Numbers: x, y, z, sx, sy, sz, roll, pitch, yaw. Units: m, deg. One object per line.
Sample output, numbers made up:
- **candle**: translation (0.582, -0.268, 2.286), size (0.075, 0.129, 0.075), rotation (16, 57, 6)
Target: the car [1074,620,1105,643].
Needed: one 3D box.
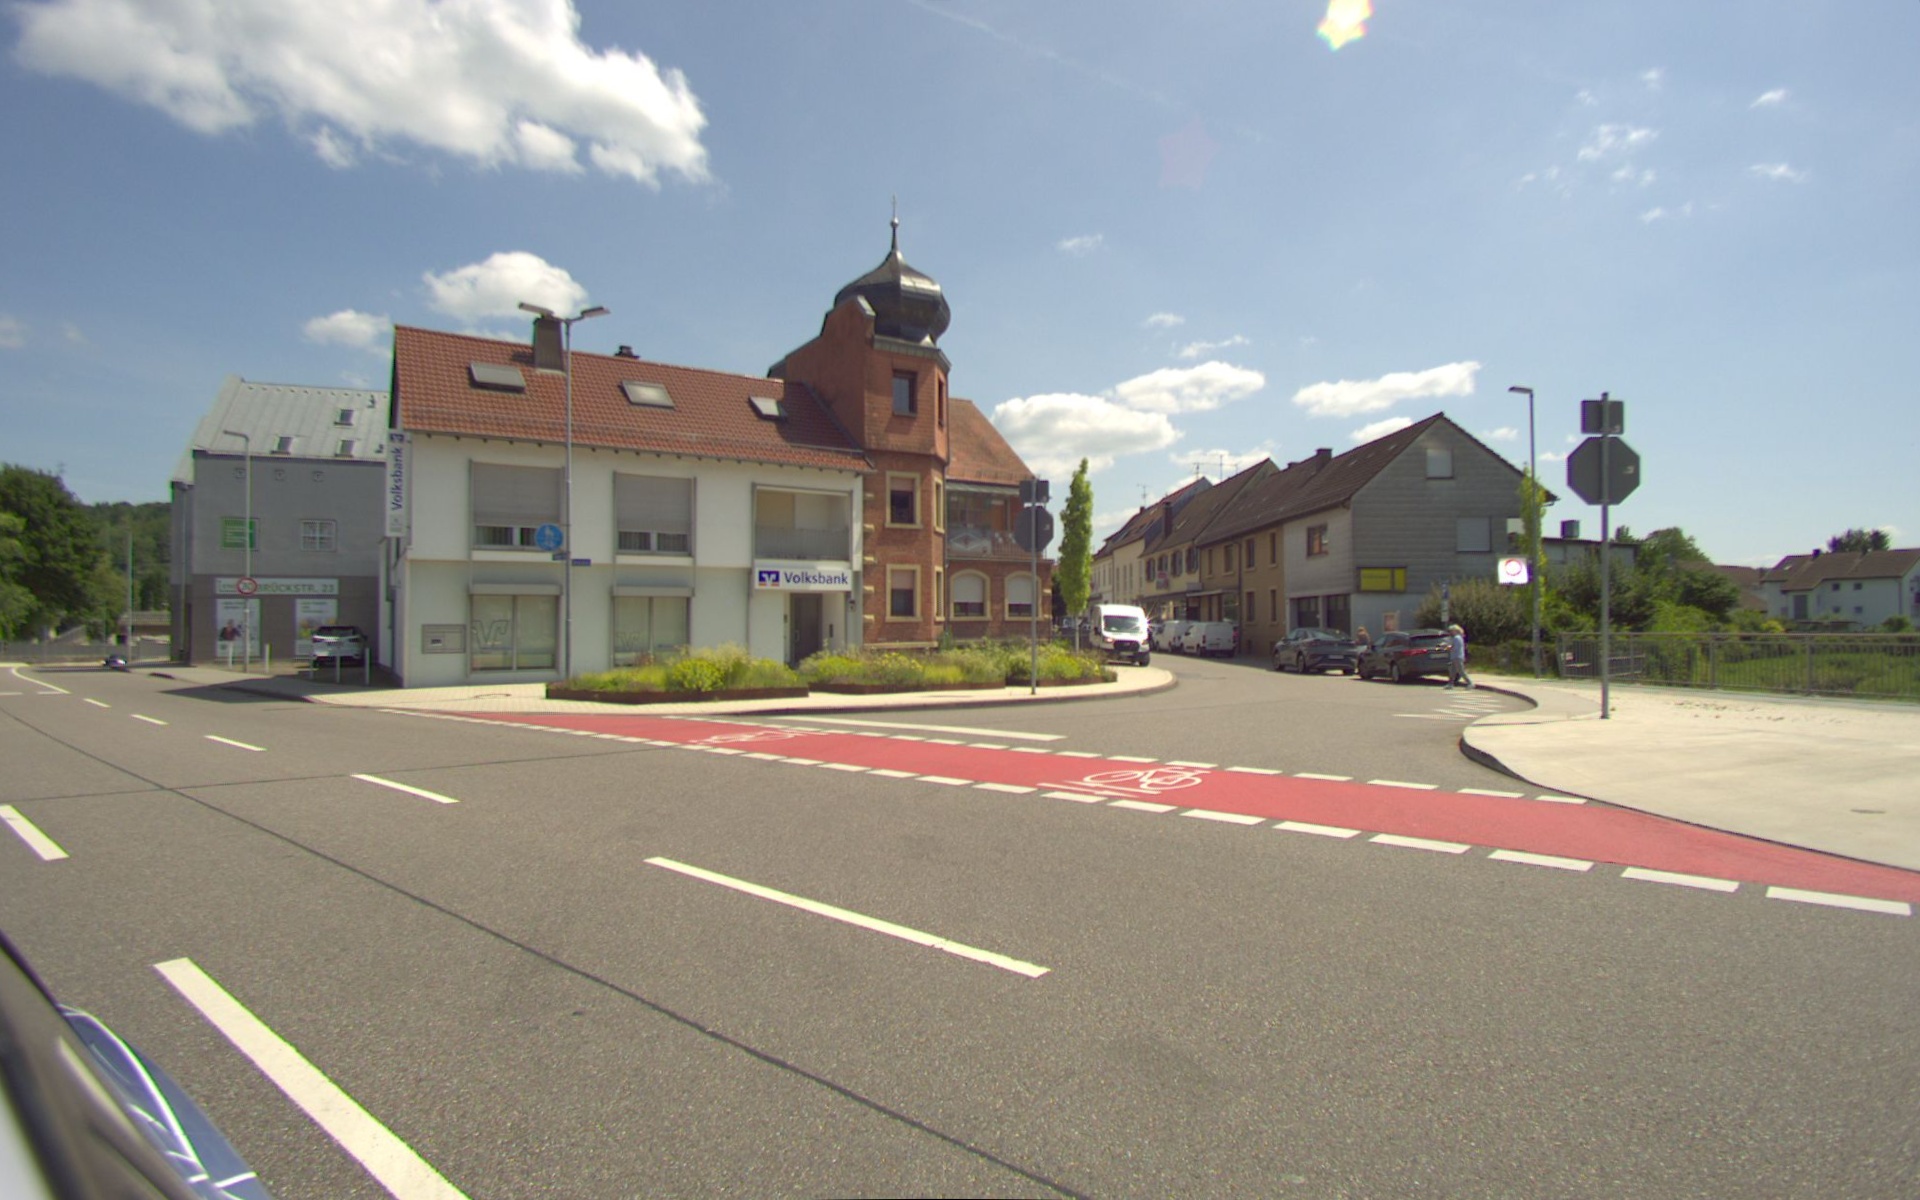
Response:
- **car**: translation (10.916, 2.646, 85.589), size (1.839, 1.864, 4.003), rotation (1, -2, -4)

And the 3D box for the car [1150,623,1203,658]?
- **car**: translation (12.118, 2.270, 56.958), size (1.895, 1.892, 4.003), rotation (1, -2, -3)

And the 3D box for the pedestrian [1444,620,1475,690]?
- **pedestrian**: translation (12.759, 1.404, 25.859), size (0.500, 1.762, 0.613), rotation (-1, -2, 6)

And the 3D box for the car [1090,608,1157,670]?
- **car**: translation (6.625, 1.592, 41.587), size (2.145, 2.363, 5.107), rotation (1, -2, 3)

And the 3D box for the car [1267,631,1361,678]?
- **car**: translation (12.444, 1.878, 35.826), size (1.762, 1.559, 4.234), rotation (1, -2, -1)

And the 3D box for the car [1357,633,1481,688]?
- **car**: translation (13.236, 1.715, 29.452), size (1.836, 1.475, 3.998), rotation (0, -2, 1)

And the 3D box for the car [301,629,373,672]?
- **car**: translation (-24.376, 1.968, 39.743), size (1.965, 1.587, 4.266), rotation (1, -3, -26)

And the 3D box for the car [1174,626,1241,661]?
- **car**: translation (12.588, 2.205, 51.774), size (2.037, 1.741, 4.006), rotation (1, -2, -7)
